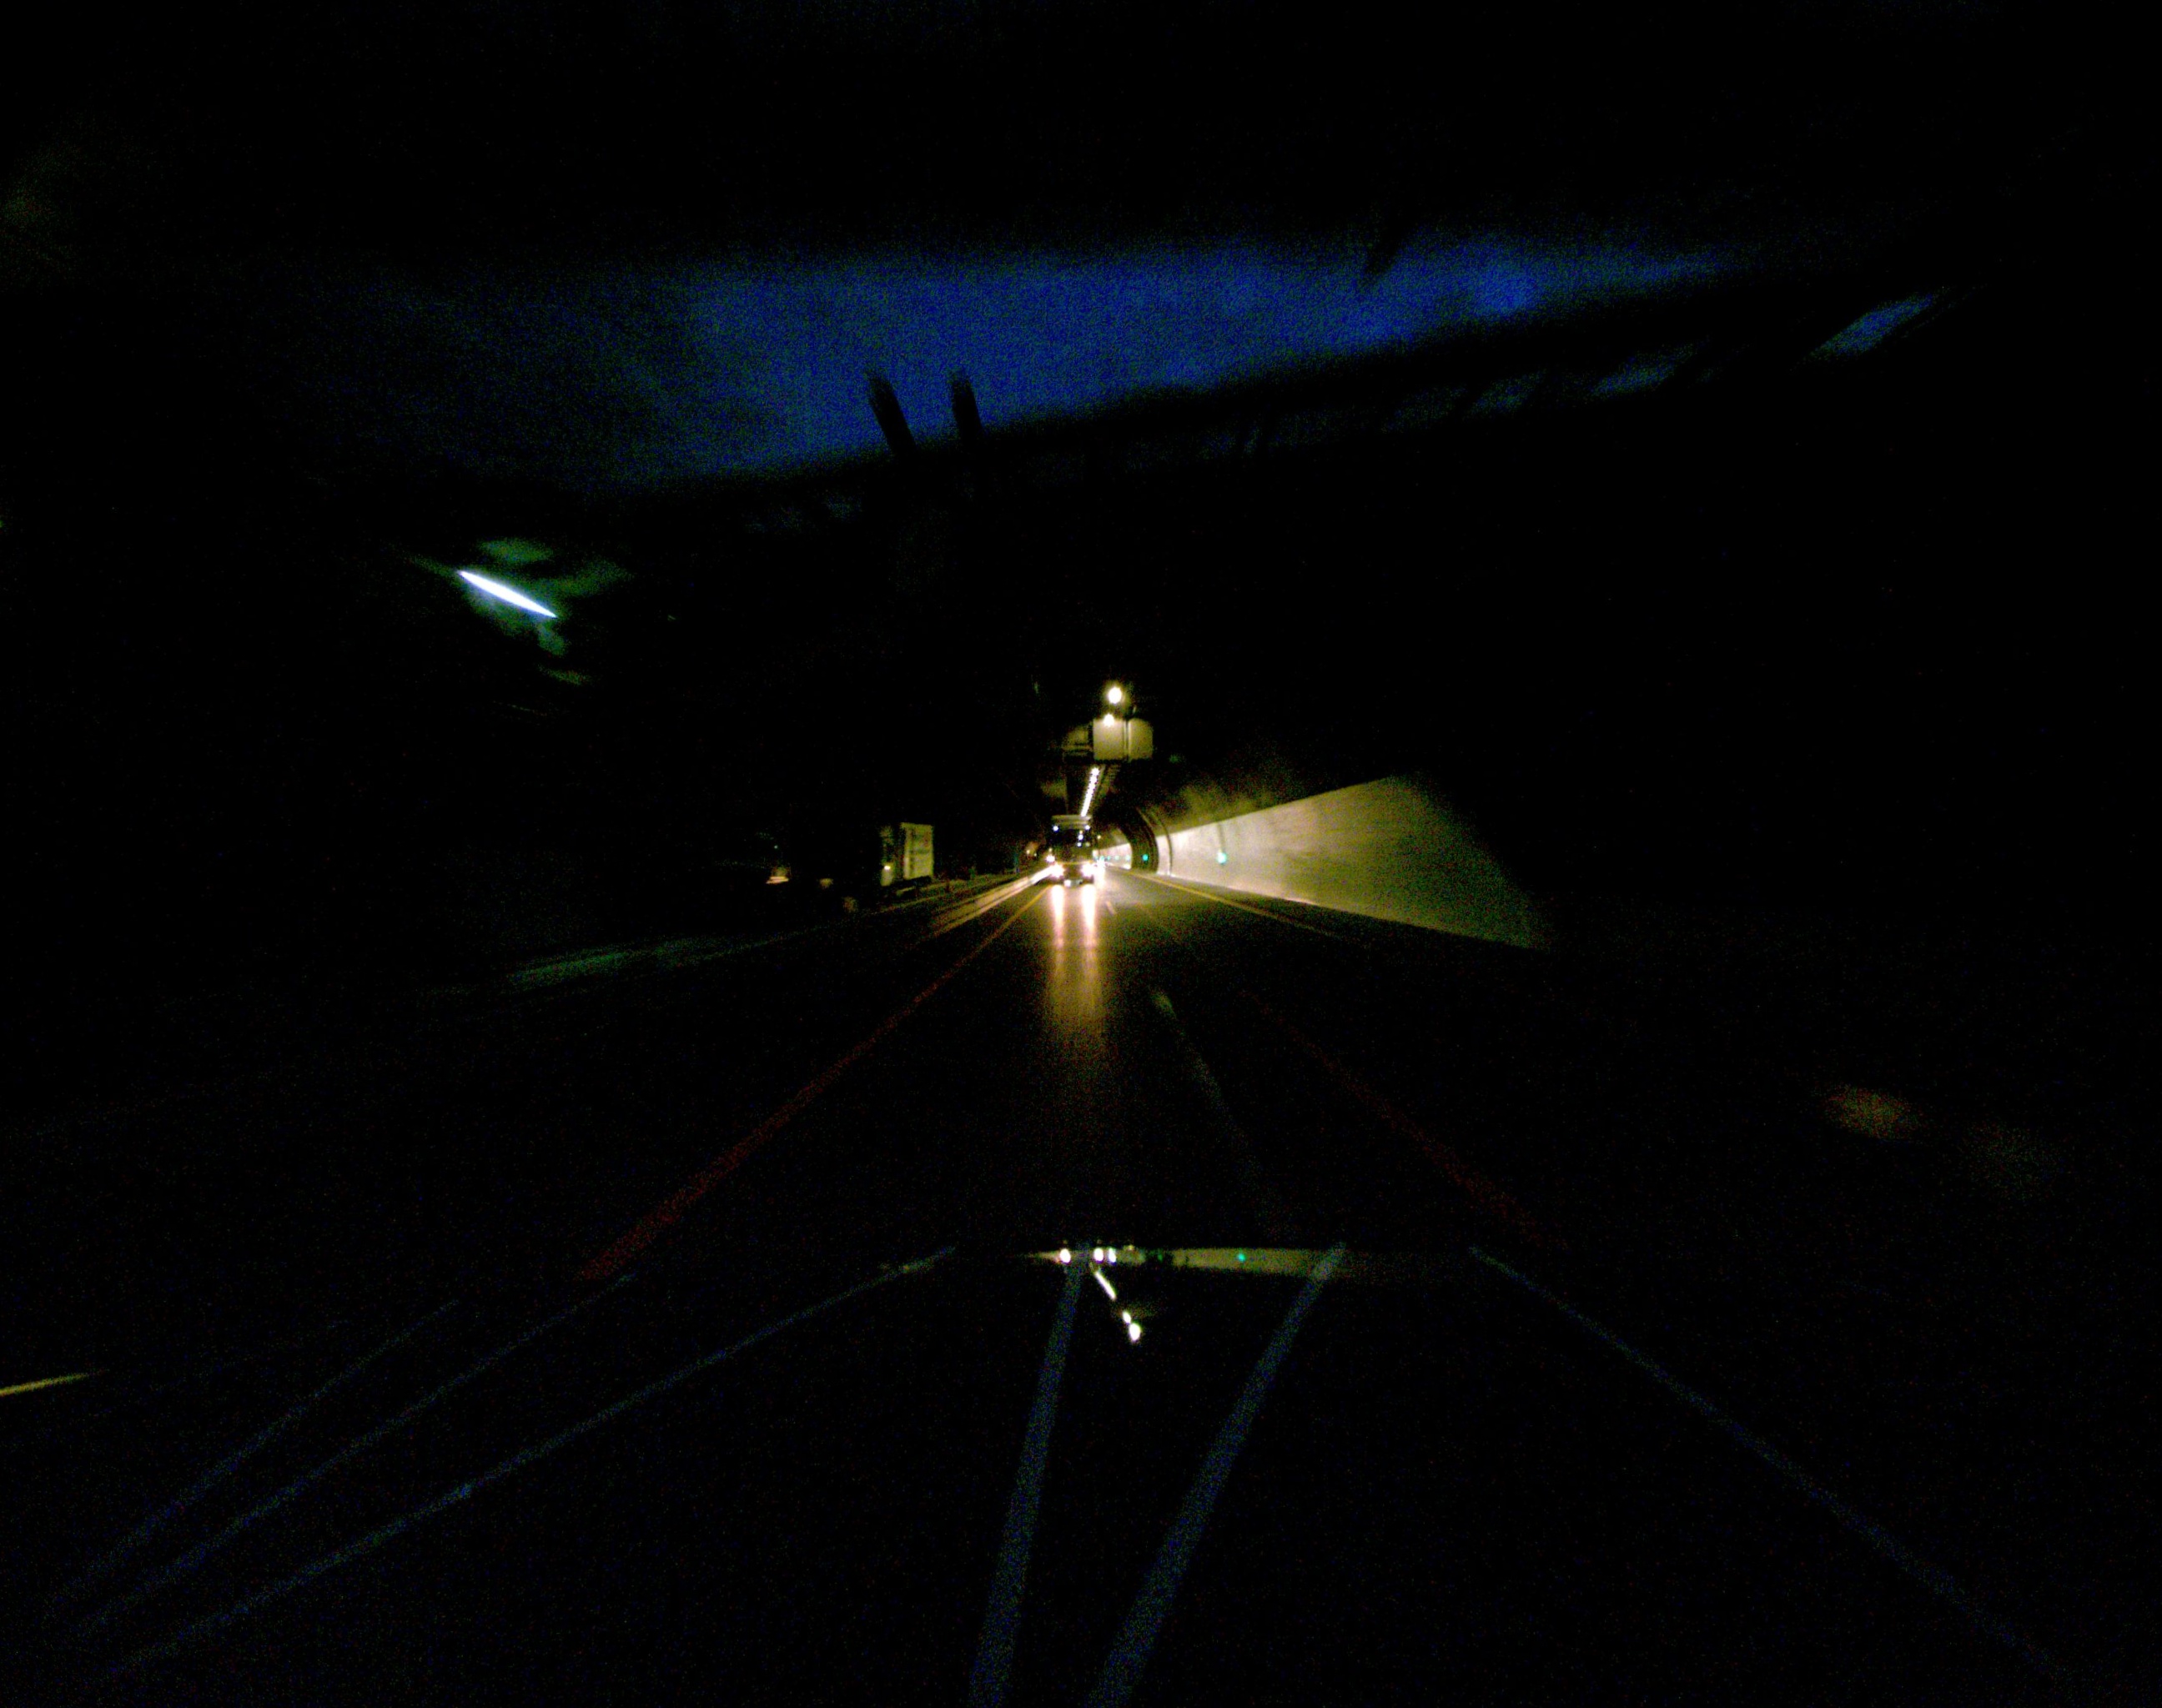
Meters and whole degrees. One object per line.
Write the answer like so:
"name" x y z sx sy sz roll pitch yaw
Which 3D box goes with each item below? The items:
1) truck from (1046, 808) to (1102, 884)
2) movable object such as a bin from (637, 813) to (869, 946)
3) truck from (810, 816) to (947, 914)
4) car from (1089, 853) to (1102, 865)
"truck" -0.247 -0.521 49.609 2.953 4.241 11.053 -3 1 2
"movable object such as a bin" -8.269 0.536 20.450 2.977 2.811 7.195 -3 1 0
"truck" -7.772 0.330 30.578 2.824 3.267 8.353 -3 1 2
"car" 2.091 0.689 107.424 1.662 1.586 3.996 -3 1 2
